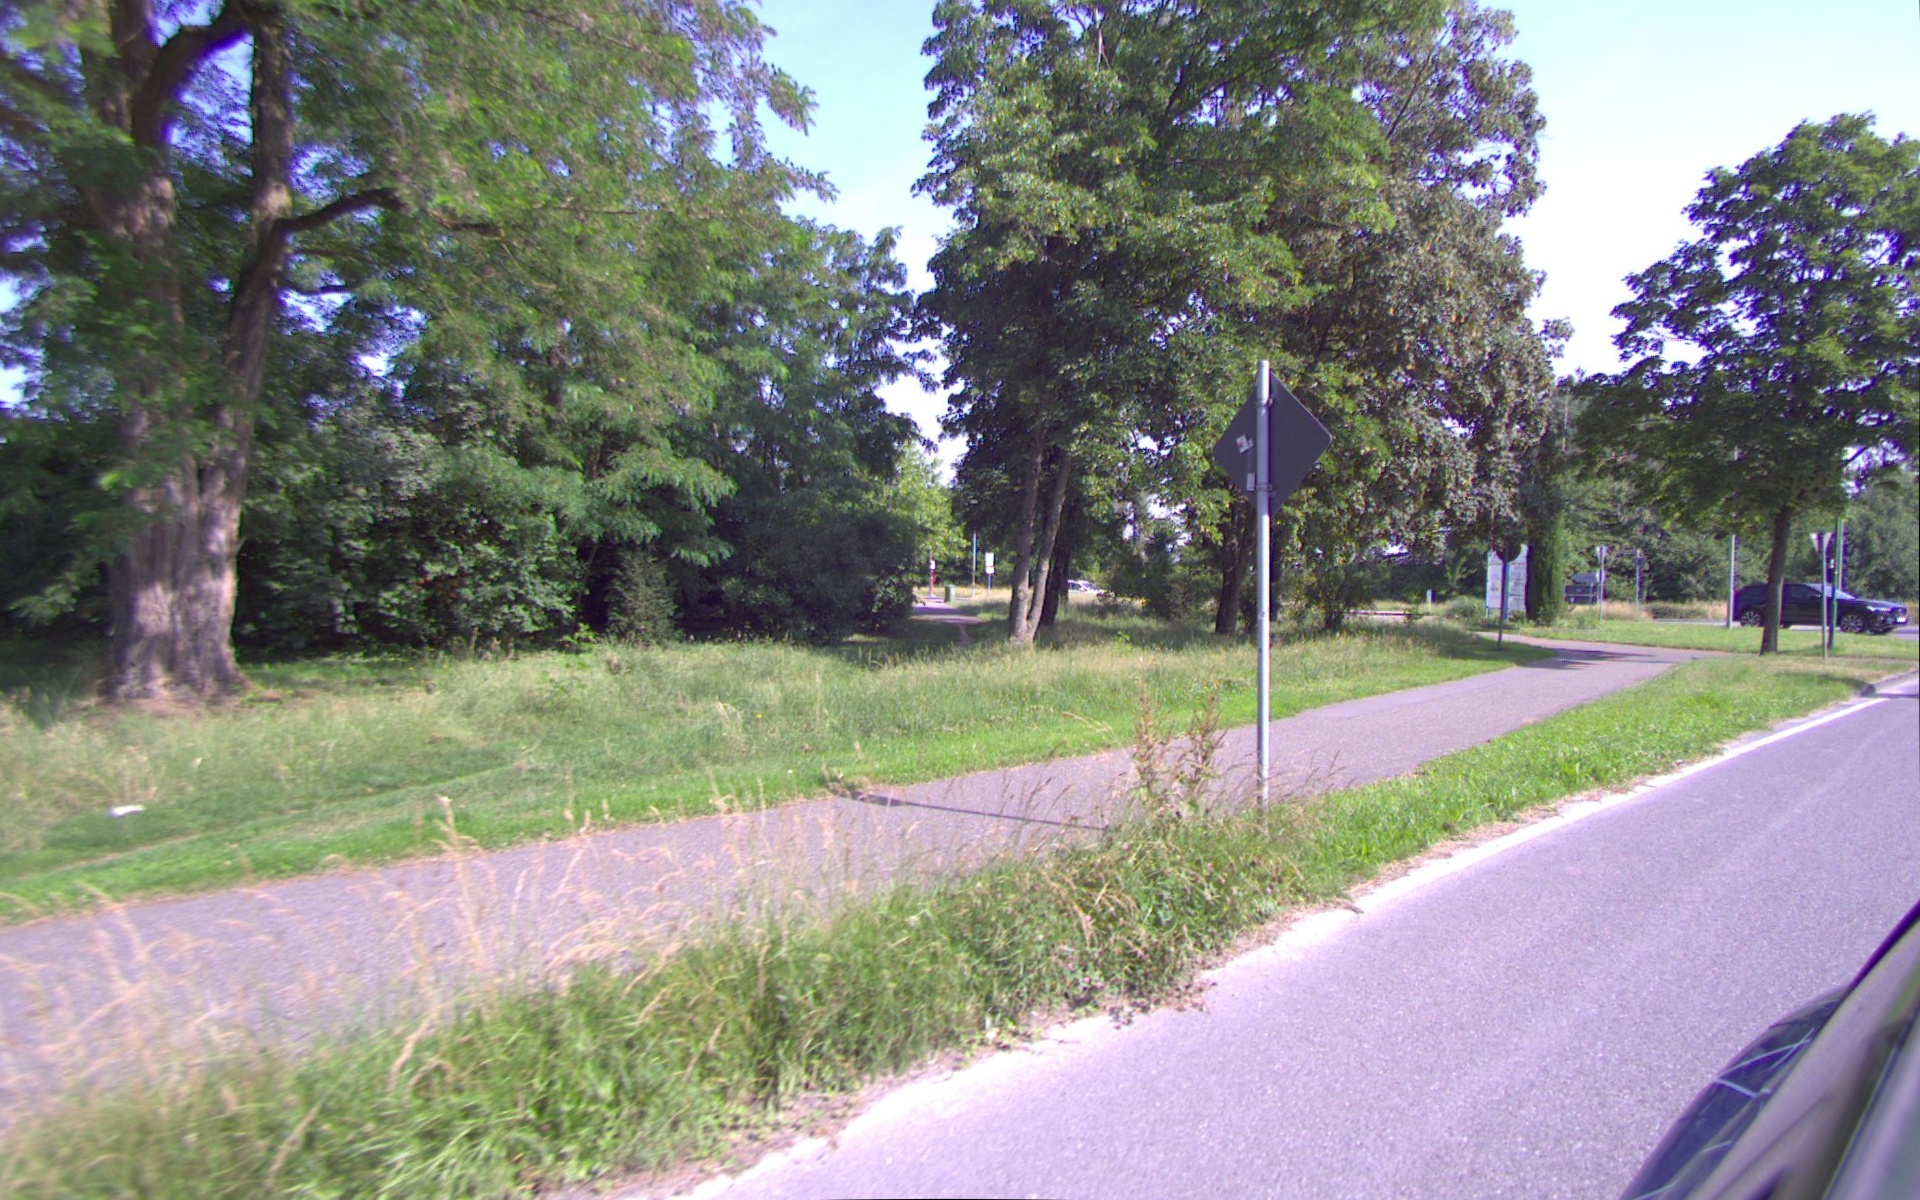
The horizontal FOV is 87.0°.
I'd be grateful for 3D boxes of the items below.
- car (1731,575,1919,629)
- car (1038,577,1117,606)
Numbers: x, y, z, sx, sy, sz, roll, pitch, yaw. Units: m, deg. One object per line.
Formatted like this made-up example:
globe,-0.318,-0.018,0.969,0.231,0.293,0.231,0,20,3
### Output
car,28.589,0.005,33.398,1.913,1.621,4.629,0,2,-26
car,6.597,-0.496,57.168,4.115,1.569,1.876,1,1,39
